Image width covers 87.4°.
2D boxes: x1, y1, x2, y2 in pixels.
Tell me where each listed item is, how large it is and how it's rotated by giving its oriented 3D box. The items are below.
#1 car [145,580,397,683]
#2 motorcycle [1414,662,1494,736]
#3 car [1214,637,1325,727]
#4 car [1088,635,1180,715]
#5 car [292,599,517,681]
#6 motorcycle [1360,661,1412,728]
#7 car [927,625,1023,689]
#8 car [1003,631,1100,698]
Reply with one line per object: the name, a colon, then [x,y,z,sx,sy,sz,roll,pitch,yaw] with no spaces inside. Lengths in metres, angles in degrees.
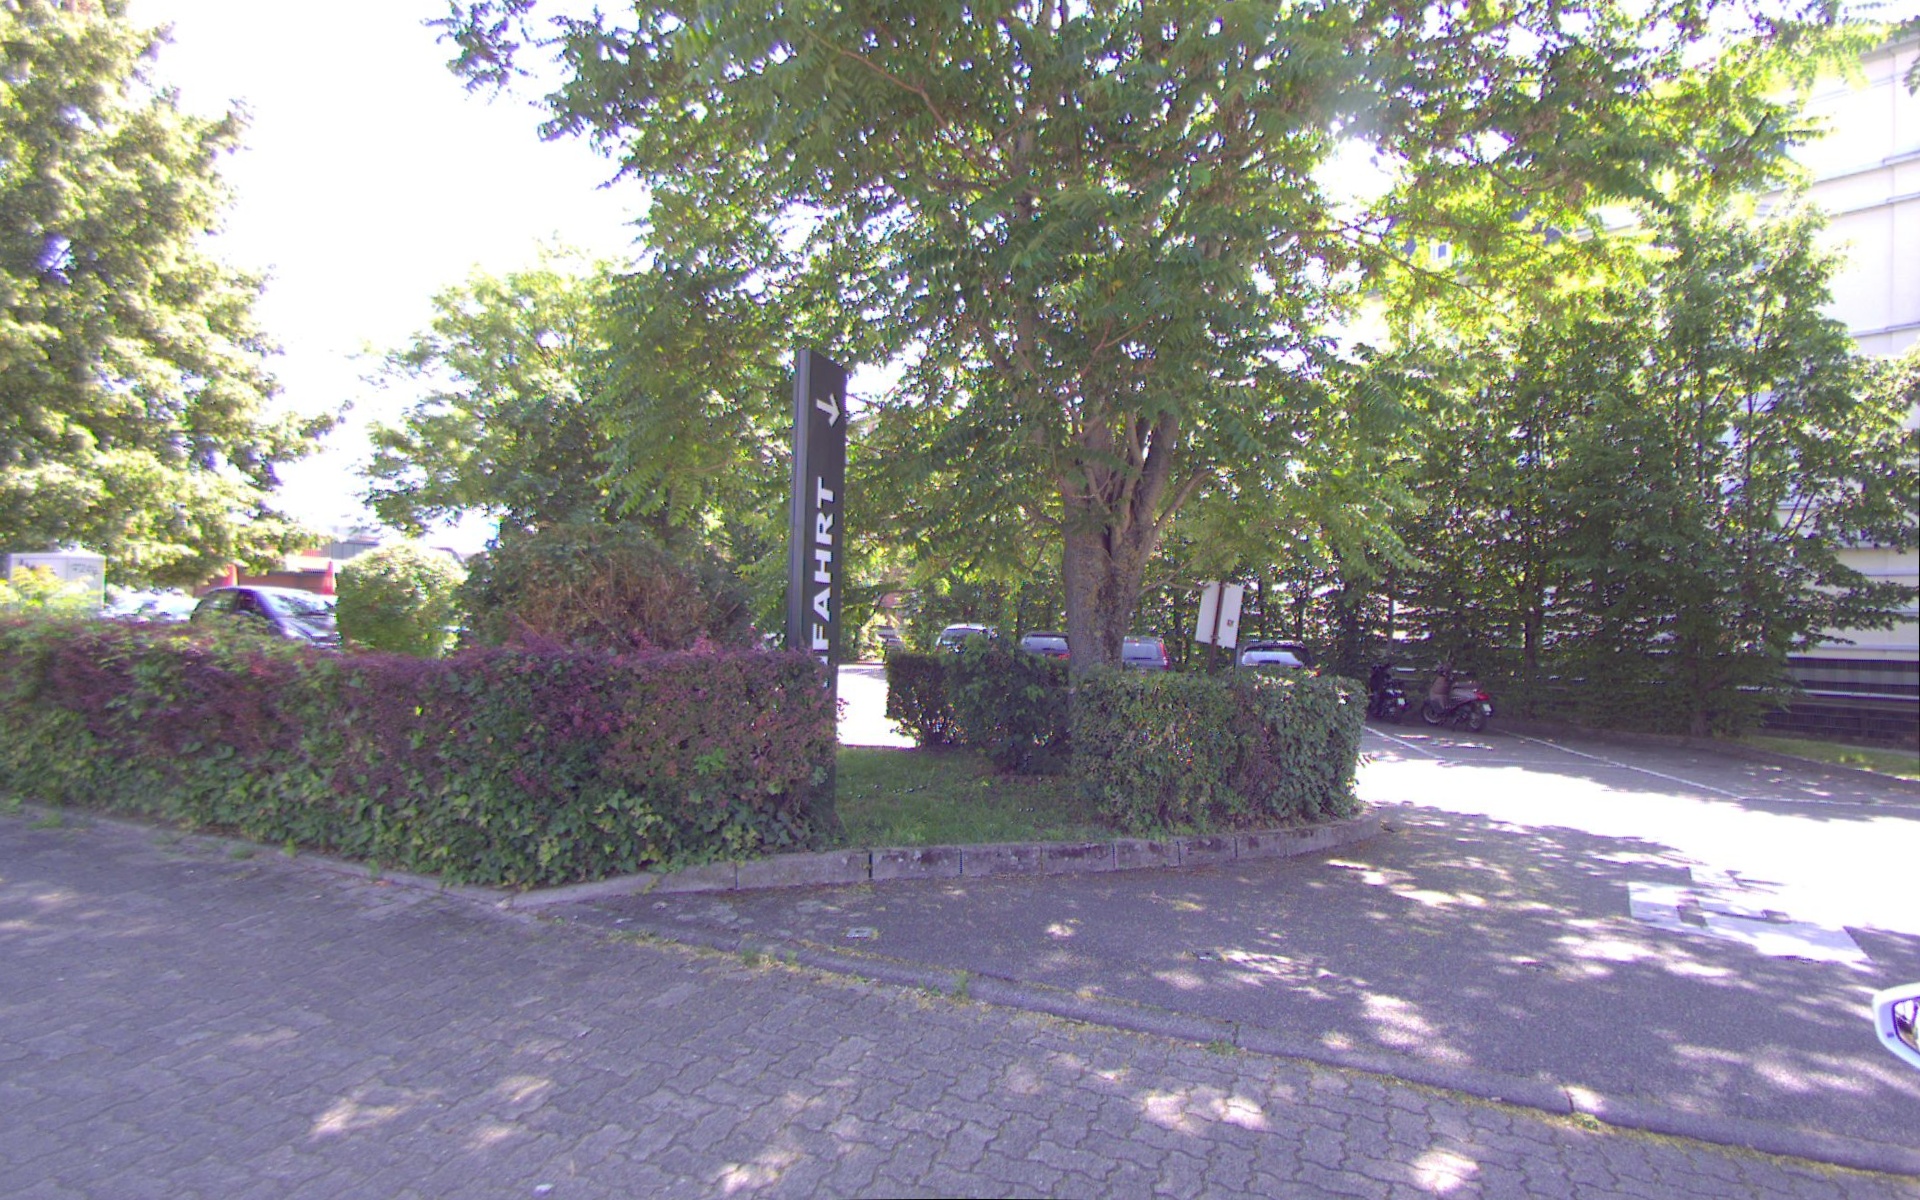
car: [-13.277,0.599,19.376,4.282,1.707,1.863,2,-4,22]
motorcycle: [8.664,1.706,17.675,0.559,1.184,1.605,2,-2,-2]
car: [5.961,1.515,19.706,1.627,1.489,3.907,1,-1,11]
car: [3.833,1.532,21.656,1.670,1.472,4.002,1,-1,14]
car: [-11.885,0.858,21.507,4.282,1.471,1.863,2,-4,22]
motorcycle: [8.000,1.749,18.922,0.465,1.156,1.607,2,-2,8]
car: [0.500,1.523,27.831,1.738,1.593,4.003,1,-1,14]
car: [2.407,1.559,25.533,1.738,1.489,4.002,1,-1,15]
